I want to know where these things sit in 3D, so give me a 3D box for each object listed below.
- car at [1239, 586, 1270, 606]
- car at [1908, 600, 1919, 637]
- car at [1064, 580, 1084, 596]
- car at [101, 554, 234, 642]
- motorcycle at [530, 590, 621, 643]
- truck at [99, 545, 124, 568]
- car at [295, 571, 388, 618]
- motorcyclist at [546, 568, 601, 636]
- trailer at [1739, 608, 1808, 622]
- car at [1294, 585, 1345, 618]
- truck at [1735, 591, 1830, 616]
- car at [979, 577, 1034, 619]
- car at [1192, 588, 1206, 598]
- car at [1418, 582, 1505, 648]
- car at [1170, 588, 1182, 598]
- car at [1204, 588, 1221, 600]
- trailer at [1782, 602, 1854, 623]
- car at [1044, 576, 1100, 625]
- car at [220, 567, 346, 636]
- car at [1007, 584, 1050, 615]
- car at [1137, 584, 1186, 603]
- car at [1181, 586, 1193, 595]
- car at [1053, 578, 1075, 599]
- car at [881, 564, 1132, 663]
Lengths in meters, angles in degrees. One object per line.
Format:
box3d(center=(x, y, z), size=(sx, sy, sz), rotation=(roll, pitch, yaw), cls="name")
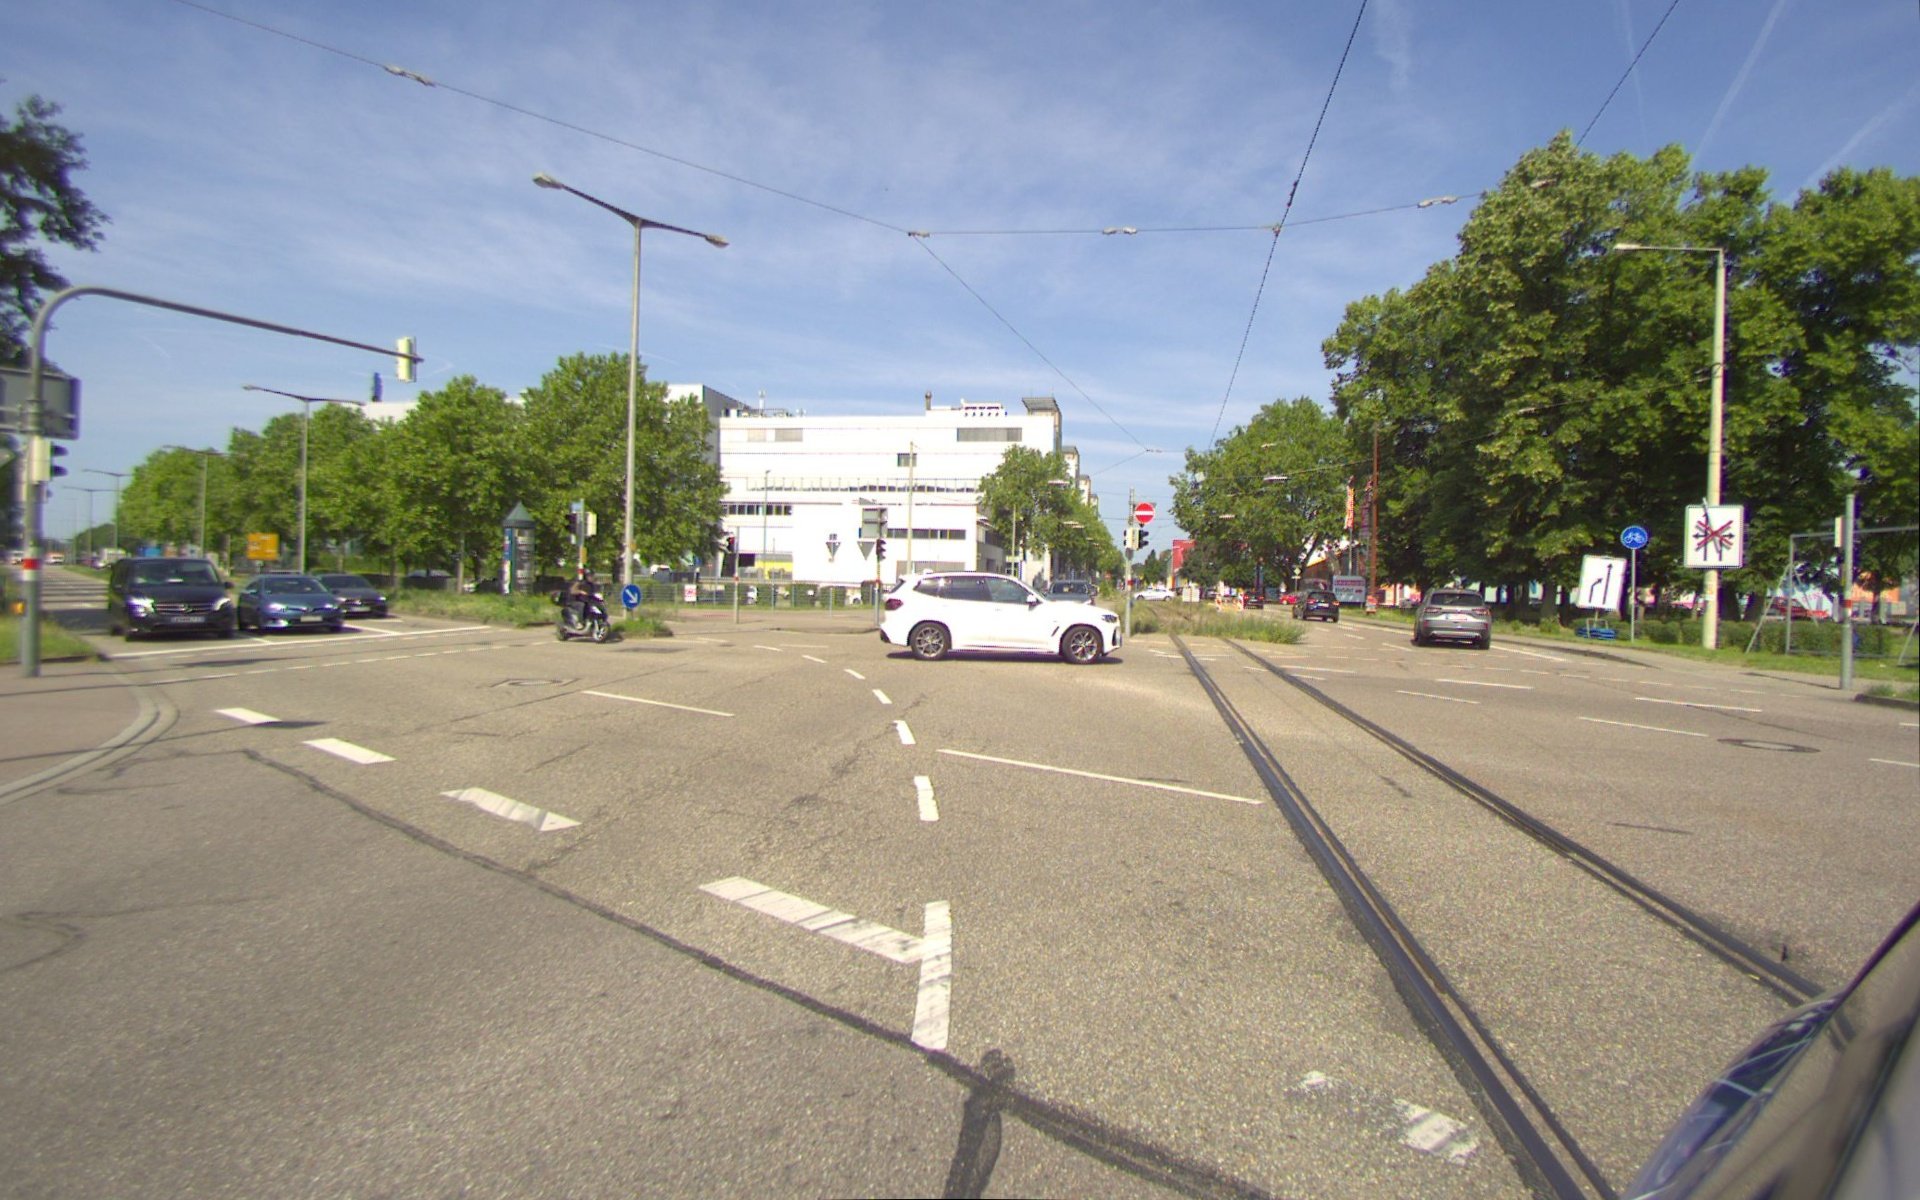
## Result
box3d(center=(23.964, -0.350, 82.473), size=(1.821, 1.529, 4.383), rotation=(1, 1, 9), cls="car")
box3d(center=(43.978, 0.874, 43.723), size=(3.996, 1.607, 1.720), rotation=(1, 1, 18), cls="car")
box3d(center=(12.466, -1.303, 110.906), size=(1.885, 1.710, 4.613), rotation=(1, 1, 10), cls="car")
box3d(center=(-18.082, -0.094, 23.028), size=(3.987, 1.837, 1.827), rotation=(2, 1, 44), cls="car")
box3d(center=(-8.465, 0.337, 22.266), size=(2.024, 1.096, 0.730), rotation=(1, 0, 28), cls="motorcycle")
box3d(center=(-137.315, -7.048, 163.738), size=(2.801, 3.622, 8.706), rotation=(1, 1, -41), cls="truck")
box3d(center=(-20.392, -0.232, 33.297), size=(1.692, 1.395, 4.461), rotation=(-2, 3, -44), cls="car")
box3d(center=(-8.507, 0.030, 22.282), size=(0.864, 1.465, 0.730), rotation=(1, 0, 27), cls="motorcyclist")
box3d(center=(57.097, 1.052, 71.124), size=(2.068, 0.792, 4.394), rotation=(1, 1, 13), cls="trailer")
box3d(center=(18.650, 0.044, 52.697), size=(1.786, 1.625, 4.364), rotation=(1, 1, 11), cls="car")
box3d(center=(70.124, 0.309, 86.412), size=(5.911, 1.855, 2.180), rotation=(2, -1, 11), cls="truck")
box3d(center=(2.078, -0.129, 44.289), size=(1.884, 1.710, 4.615), rotation=(1, 1, 9), cls="car")
box3d(center=(36.981, -1.139, 156.908), size=(1.821, 1.529, 4.332), rotation=(1, 1, 10), cls="car")
box3d(center=(14.273, 0.364, 29.011), size=(1.976, 1.671, 4.618), rotation=(2, 1, 24), cls="car")
box3d(center=(35.769, -1.113, 167.669), size=(1.821, 1.529, 4.332), rotation=(1, 1, 10), cls="car")
box3d(center=(32.637, -0.775, 130.792), size=(1.821, 1.529, 4.332), rotation=(1, 1, 10), cls="car")
box3d(center=(60.210, 0.857, 71.131), size=(1.563, 1.303, 4.405), rotation=(1, 1, 5), cls="trailer")
box3d(center=(4.292, -0.027, 38.297), size=(1.884, 1.710, 4.615), rotation=(1, 1, 9), cls="car")
box3d(center=(-17.087, -0.017, 25.477), size=(3.987, 1.581, 1.827), rotation=(2, 1, 44), cls="car")
box3d(center=(3.546, -0.063, 51.556), size=(1.752, 1.462, 4.615), rotation=(1, 1, 9), cls="car")
box3d(center=(20.049, -0.654, 100.917), size=(4.542, 1.710, 1.915), rotation=(1, 1, 3), cls="car")
box3d(center=(41.001, -1.754, 182.809), size=(1.821, 1.529, 4.332), rotation=(1, 1, 10), cls="car")
box3d(center=(9.543, -1.064, 92.788), size=(1.752, 1.832, 4.615), rotation=(1, 1, 9), cls="car")
box3d(center=(0.838, 0.221, 19.420), size=(4.539, 1.710, 1.916), rotation=(1, 1, 0), cls="car")
